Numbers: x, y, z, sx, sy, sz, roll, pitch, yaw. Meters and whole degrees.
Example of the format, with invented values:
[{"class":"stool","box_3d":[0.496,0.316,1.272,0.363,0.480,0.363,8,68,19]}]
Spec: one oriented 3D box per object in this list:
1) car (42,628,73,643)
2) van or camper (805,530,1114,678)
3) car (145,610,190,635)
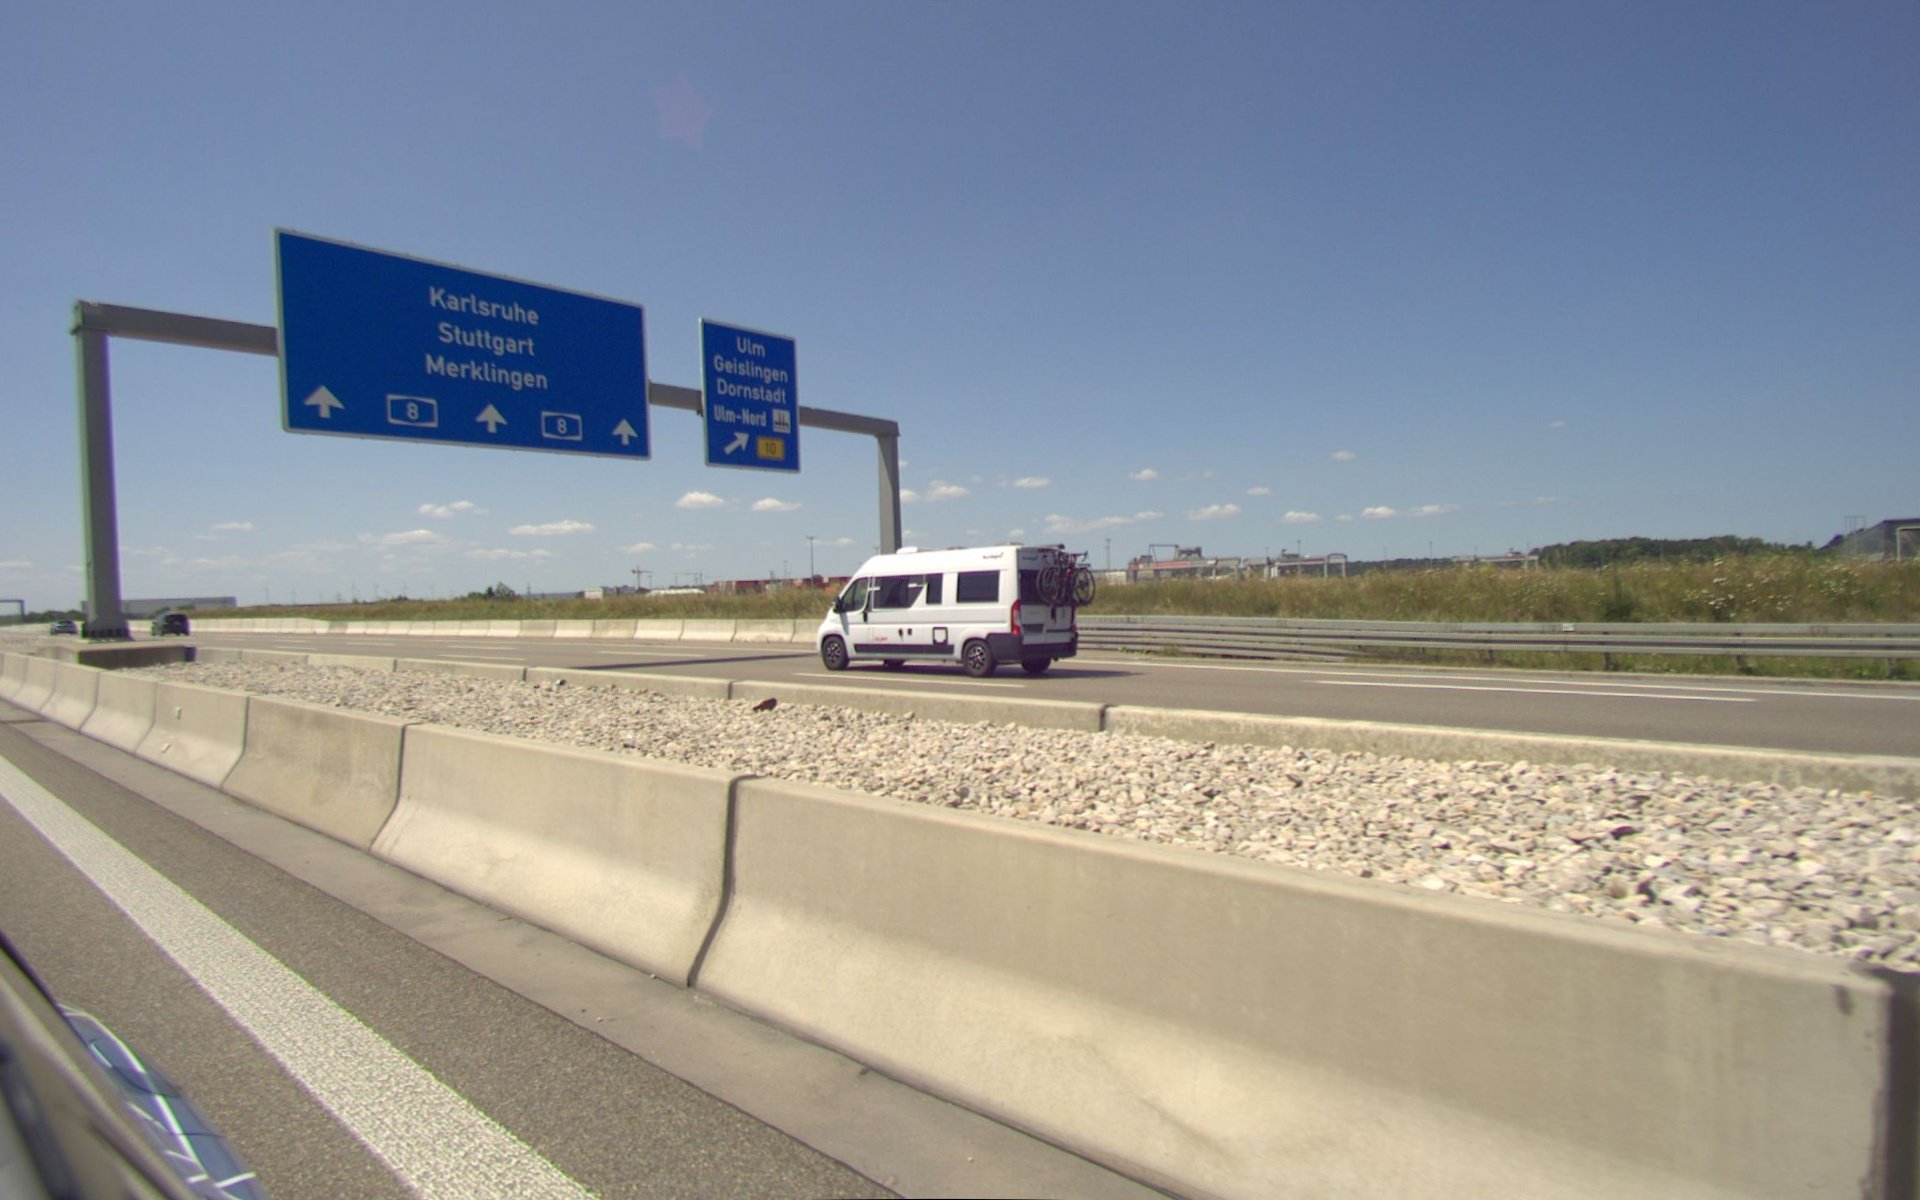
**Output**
[{"class":"car","box_3d":[-86.464,3.419,96.906,3.986,1.339,1.870,-1,0,43]},{"class":"van or camper","box_3d":[-0.192,0.115,20.650,6.312,2.577,2.295,-1,-1,41]},{"class":"car","box_3d":[-61.595,1.762,78.648,4.918,1.837,1.827,-1,0,41]}]
